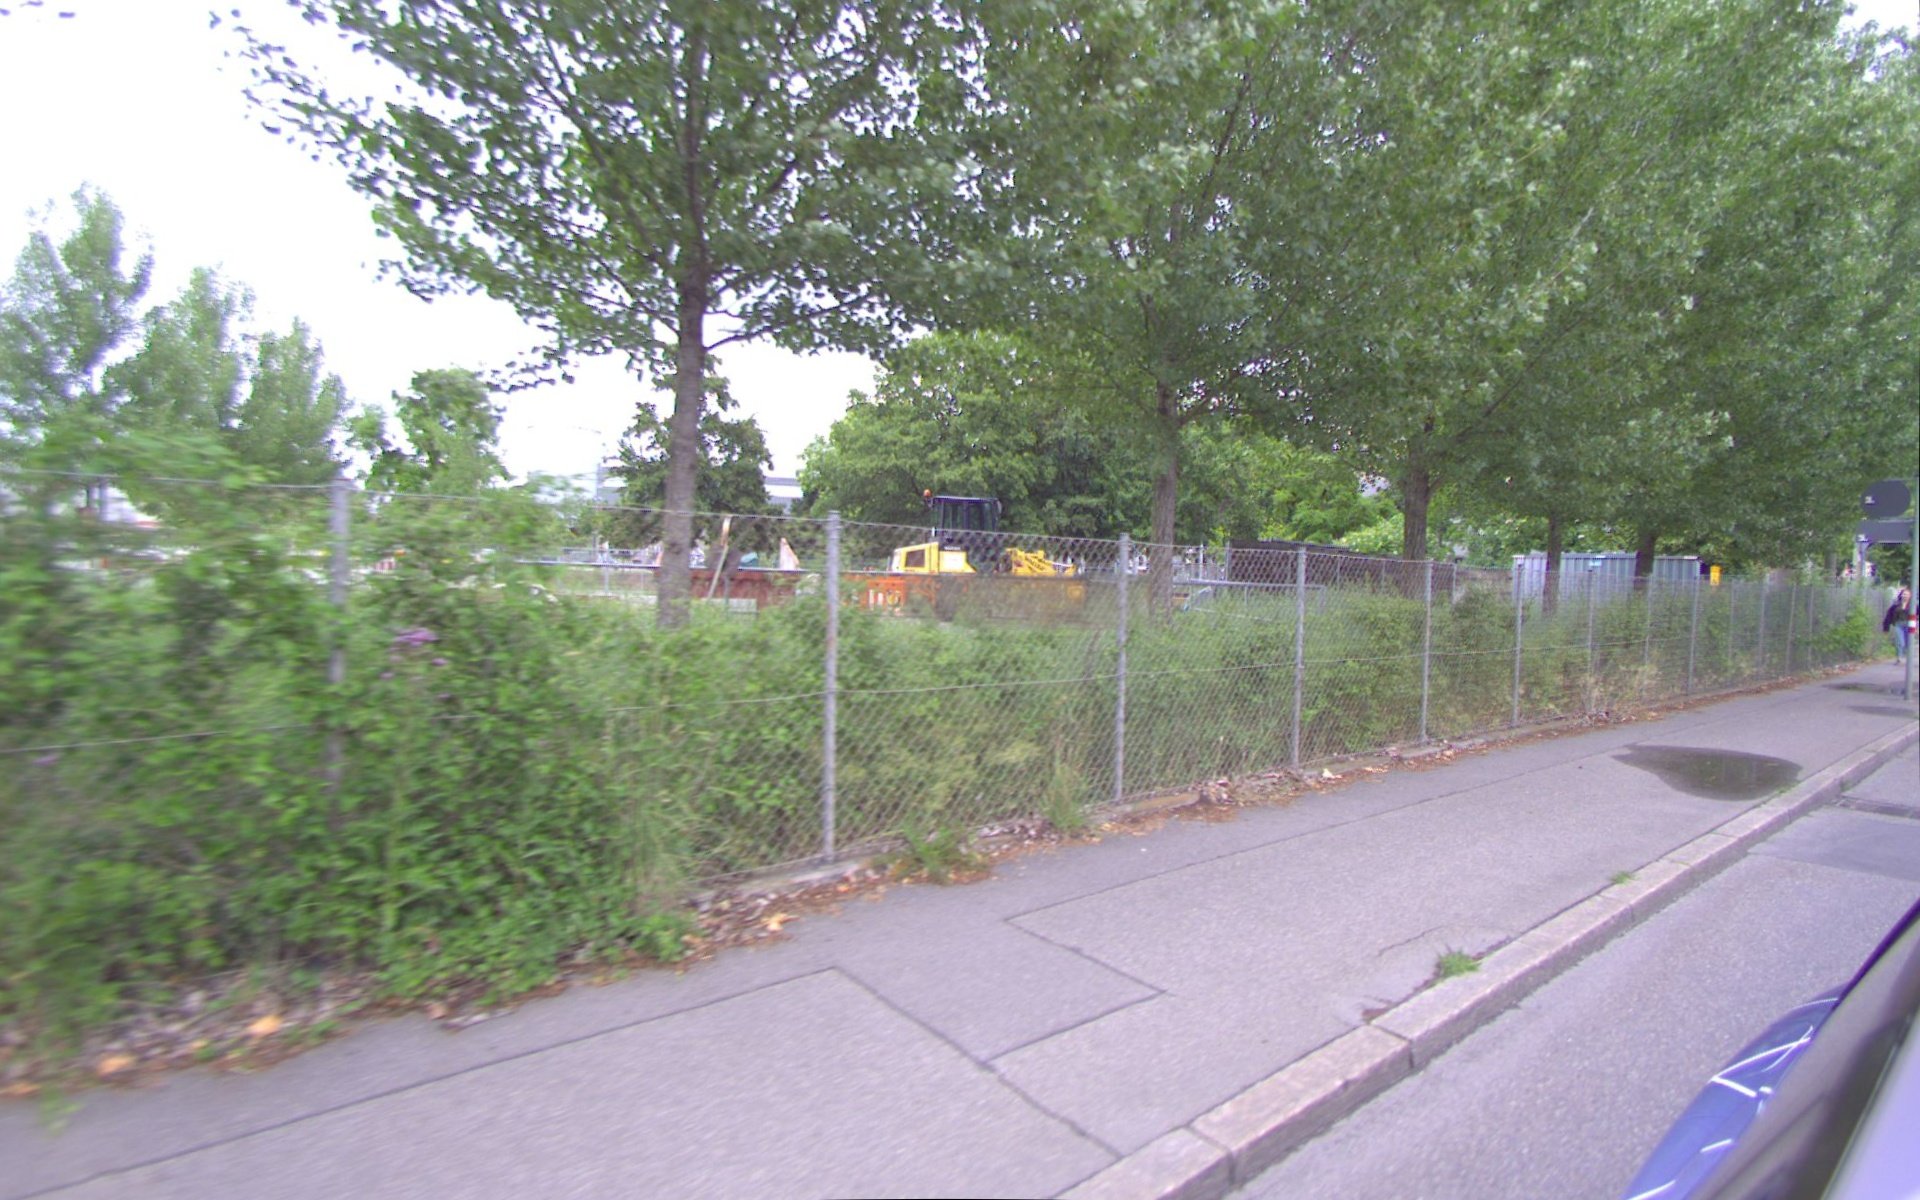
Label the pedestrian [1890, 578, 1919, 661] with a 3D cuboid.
[{"bbox_3d":[20.264,0.403,21.498,0.660,1.709,0.604,-4,5,-39],"label":"pedestrian"}]

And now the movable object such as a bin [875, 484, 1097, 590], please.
[{"bbox_3d":[0.513,-1.354,21.189,4.205,2.037,2.006,-2,4,-16],"label":"movable object such as a bin"}]
